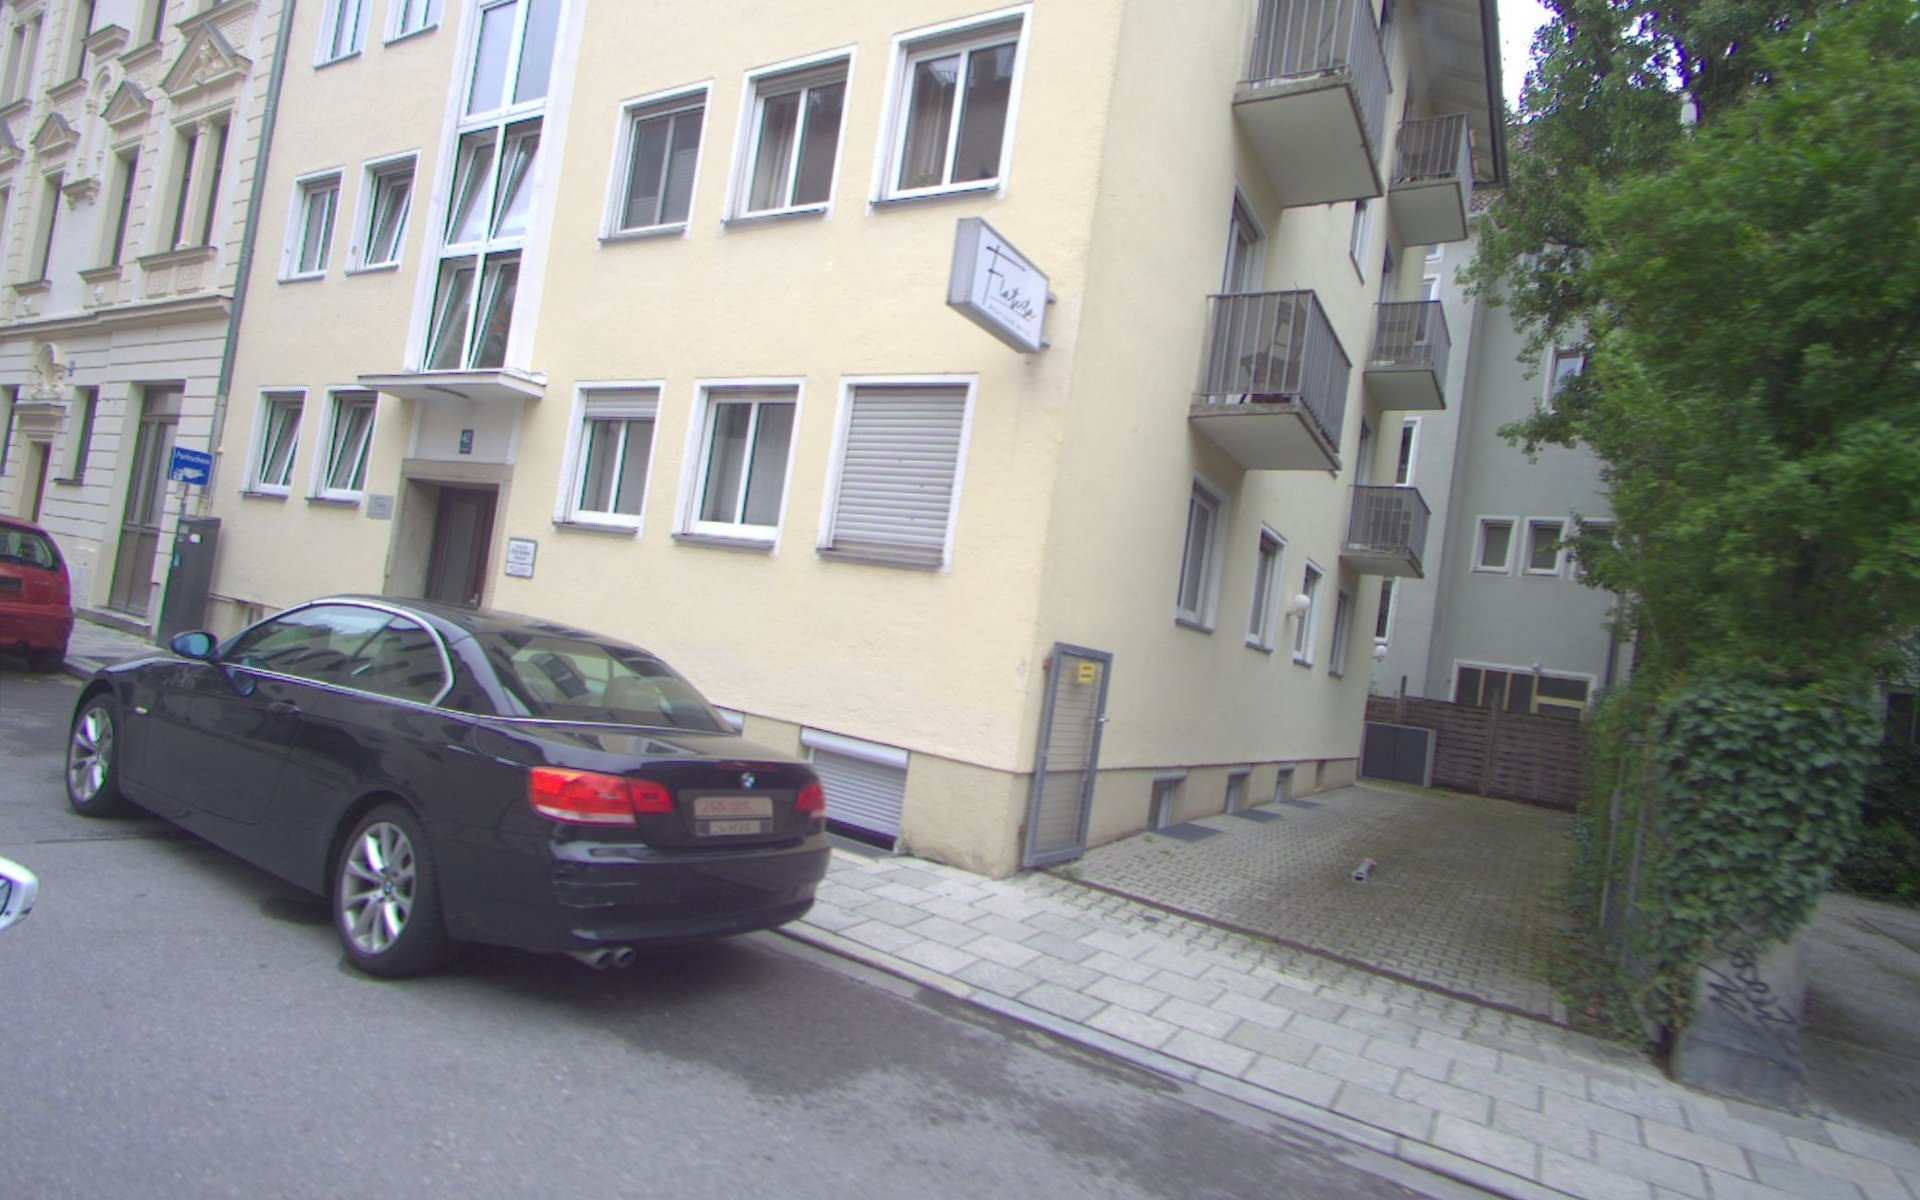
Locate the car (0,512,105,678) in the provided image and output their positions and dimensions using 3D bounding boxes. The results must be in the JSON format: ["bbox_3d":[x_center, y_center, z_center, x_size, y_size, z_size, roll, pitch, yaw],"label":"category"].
[{"bbox_3d":[-10.660,-0.263,10.299,3.789,1.509,1.680,7,-3,32],"label":"car"}]

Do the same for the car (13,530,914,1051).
[{"bbox_3d":[-2.657,0.670,5.088,4.433,1.347,1.834,7,-7,31],"label":"car"}]
